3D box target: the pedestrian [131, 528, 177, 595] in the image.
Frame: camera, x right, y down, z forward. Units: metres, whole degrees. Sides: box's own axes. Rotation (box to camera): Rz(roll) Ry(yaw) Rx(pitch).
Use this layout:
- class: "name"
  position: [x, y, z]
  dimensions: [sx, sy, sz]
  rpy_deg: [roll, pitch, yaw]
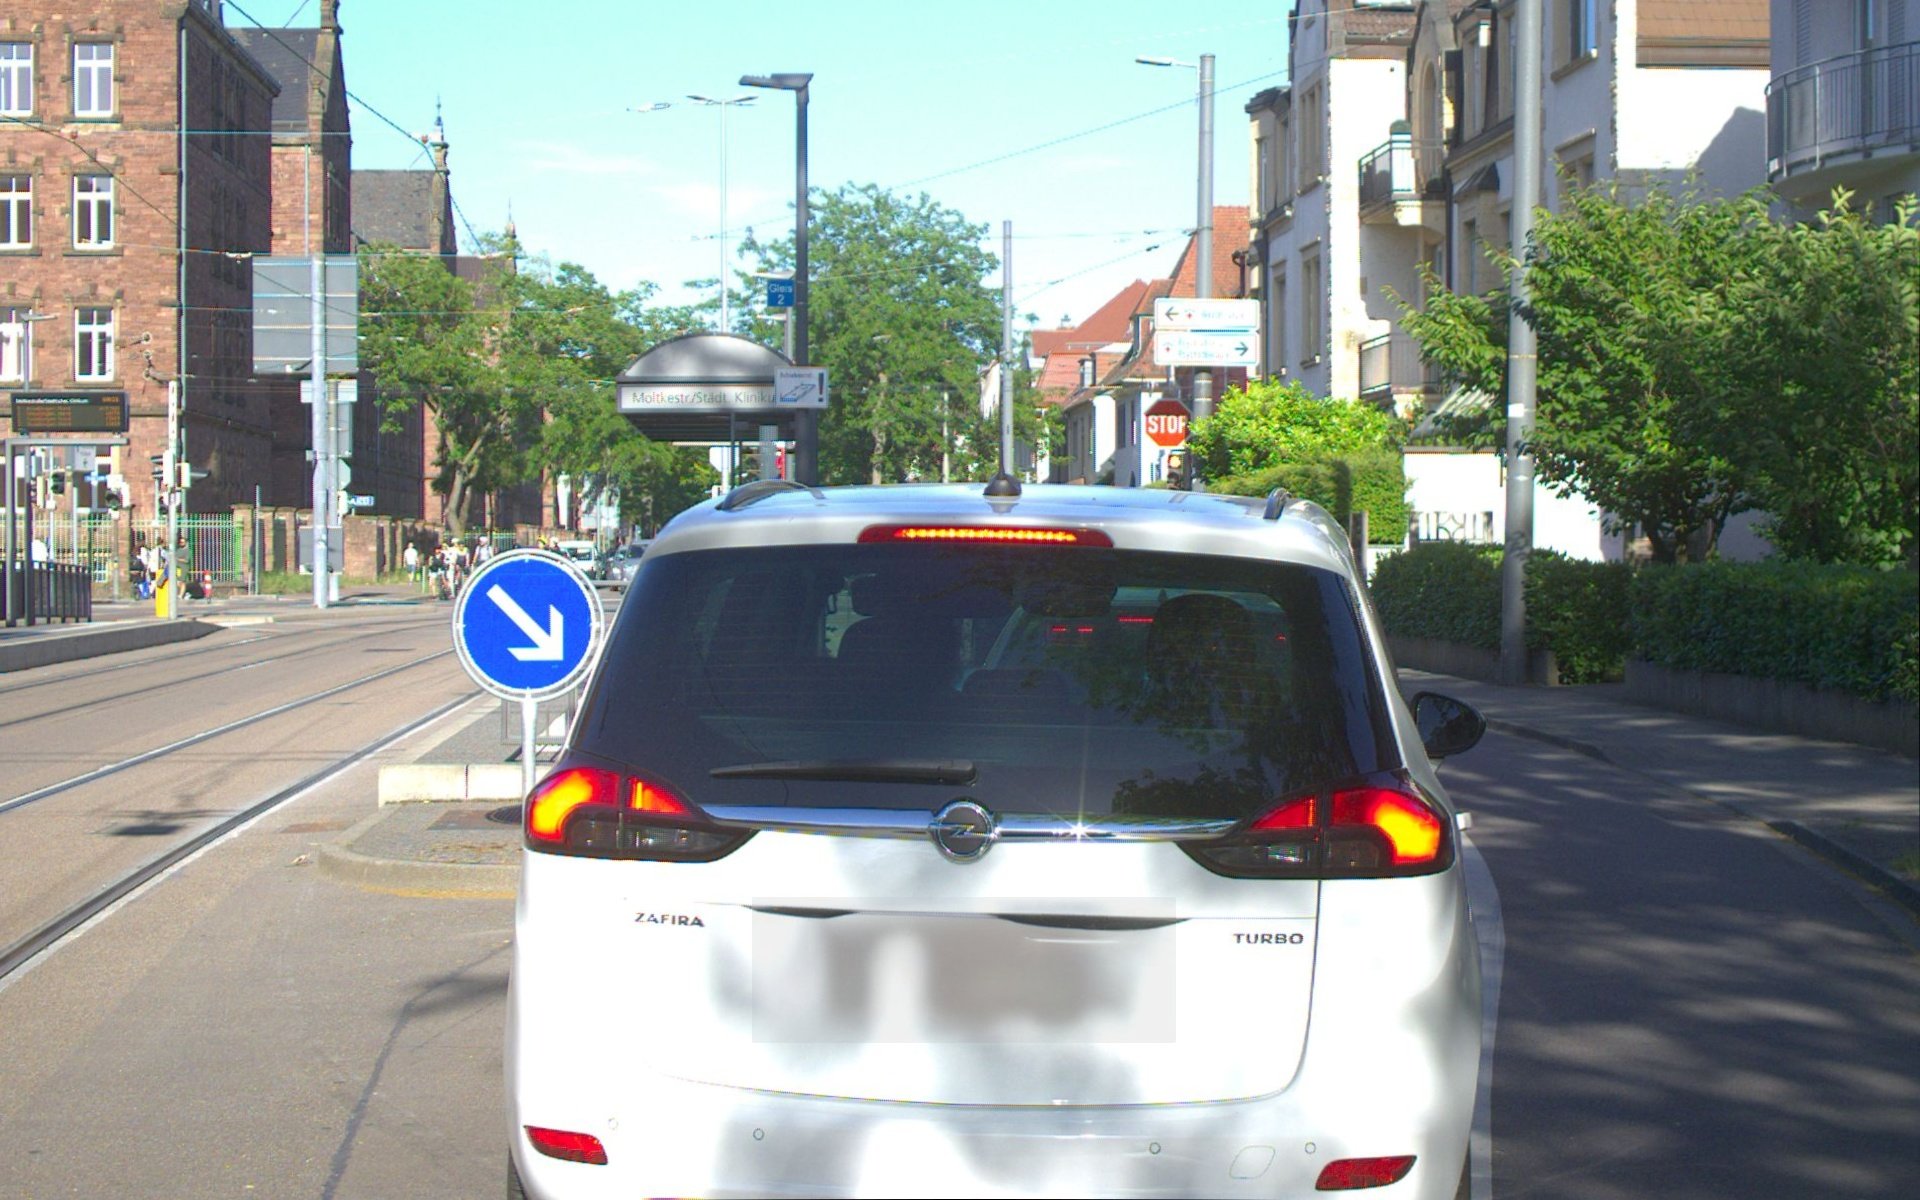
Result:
- class: "pedestrian"
  position: [-20.257, -0.964, 86.435]
  dimensions: [0.895, 1.678, 1.029]
  rpy_deg: [1, 0, -1]

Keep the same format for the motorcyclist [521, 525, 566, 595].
- class: "motorcyclist"
  position: [-9.727, -0.939, 80.255]
  dimensions: [0.615, 1.616, 0.842]
  rpy_deg: [1, 1, 42]

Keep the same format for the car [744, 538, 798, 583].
- class: "car"
  position: [-7.090, -1.491, 128.535]
  dimensions: [1.993, 1.623, 4.001]
  rpy_deg: [0, 1, -4]

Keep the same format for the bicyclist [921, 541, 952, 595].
- class: "bicyclist"
  position: [-0.641, -0.862, 92.680]
  dimensions: [0.759, 1.425, 0.516]
  rpy_deg: [1, 0, 6]

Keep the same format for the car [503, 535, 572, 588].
- class: "car"
  position: [-13.131, -1.212, 107.074]
  dimensions: [1.993, 1.623, 4.001]
  rpy_deg: [0, 1, -5]

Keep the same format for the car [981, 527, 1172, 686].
- class: "car"
  position: [1.171, 0.032, 36.168]
  dimensions: [1.830, 1.574, 4.010]
  rpy_deg: [0, 1, -1]

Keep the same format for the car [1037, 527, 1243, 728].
- class: "car"
  position: [1.489, 0.185, 29.244]
  dimensions: [1.637, 1.595, 3.854]
  rpy_deg: [0, 1, 2]

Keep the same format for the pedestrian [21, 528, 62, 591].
- class: "pedestrian"
  position: [-23.286, -1.035, 87.174]
  dimensions: [0.802, 1.583, 0.935]
  rpy_deg: [1, 0, -3]

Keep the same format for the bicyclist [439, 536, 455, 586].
- class: "bicyclist"
  position: [-15.908, -1.208, 106.552]
  dimensions: [0.444, 1.548, 0.496]
  rpy_deg: [0, 1, -4]

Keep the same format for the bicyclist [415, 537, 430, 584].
- class: "bicyclist"
  position: [-17.998, -1.323, 115.082]
  dimensions: [0.444, 1.548, 0.496]
  rpy_deg: [0, 1, -4]

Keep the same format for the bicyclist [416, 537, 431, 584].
- class: "bicyclist"
  position: [-17.680, -1.300, 113.247]
  dimensions: [0.444, 1.548, 0.496]
  rpy_deg: [0, 1, -4]

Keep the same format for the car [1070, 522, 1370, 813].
- class: "car"
  position: [1.489, 0.337, 20.816]
  dimensions: [1.637, 1.595, 3.854]
  rpy_deg: [0, 1, 2]

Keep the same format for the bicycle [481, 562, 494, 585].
- class: "bicycle"
  position: [-15.443, -0.865, 112.306]
  dimensions: [0.344, 0.722, 0.997]
  rpy_deg: [1, 0, -4]

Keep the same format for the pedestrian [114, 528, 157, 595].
- class: "pedestrian"
  position: [-21.171, -0.988, 88.261]
  dimensions: [0.843, 1.686, 1.029]
  rpy_deg: [1, 0, -1]

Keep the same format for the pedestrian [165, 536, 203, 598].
- class: "pedestrian"
  position: [-21.552, -0.904, 95.512]
  dimensions: [0.735, 1.708, 0.705]
  rpy_deg: [1, 0, 22]

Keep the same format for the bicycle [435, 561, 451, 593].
- class: "bicycle"
  position: [-15.497, -0.703, 103.069]
  dimensions: [0.344, 0.946, 1.160]
  rpy_deg: [1, 0, -4]

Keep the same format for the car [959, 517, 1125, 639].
- class: "car"
  position: [1.013, -0.310, 44.288]
  dimensions: [1.993, 1.497, 4.000]
  rpy_deg: [0, 1, -1]

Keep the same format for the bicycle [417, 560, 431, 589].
- class: "bicycle"
  position: [-17.663, -0.834, 113.296]
  dimensions: [0.344, 0.946, 0.997]
  rpy_deg: [1, 0, -4]

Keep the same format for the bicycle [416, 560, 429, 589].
- class: "bicycle"
  position: [-18.003, -0.857, 115.126]
  dimensions: [0.344, 0.946, 0.997]
  rpy_deg: [1, 0, -4]

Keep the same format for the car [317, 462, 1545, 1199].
- class: "car"
  position: [0.135, 0.587, 7.590]
  dimensions: [1.994, 1.639, 3.992]
  rpy_deg: [1, 1, 6]

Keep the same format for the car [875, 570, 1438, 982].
- class: "car"
  position: [0.743, 0.594, 13.971]
  dimensions: [1.953, 1.392, 4.000]
  rpy_deg: [0, 1, 2]

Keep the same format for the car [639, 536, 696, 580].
- class: "car"
  position: [-11.099, -1.599, 130.640]
  dimensions: [1.993, 1.623, 4.001]
  rpy_deg: [0, 1, -2]

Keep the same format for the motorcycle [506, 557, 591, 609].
- class: "motorcycle"
  position: [-9.616, -0.397, 80.392]
  dimensions: [0.613, 1.194, 2.070]
  rpy_deg: [1, 1, 42]

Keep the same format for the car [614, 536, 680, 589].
- class: "car"
  position: [-9.751, -1.175, 107.297]
  dimensions: [1.993, 1.623, 4.001]
  rpy_deg: [0, 1, -5]

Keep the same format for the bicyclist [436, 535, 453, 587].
- class: "bicyclist"
  position: [-15.489, -1.171, 103.269]
  dimensions: [0.444, 1.548, 0.743]
  rpy_deg: [0, 1, -4]

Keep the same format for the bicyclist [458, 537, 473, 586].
- class: "bicyclist"
  position: [-15.704, -1.231, 109.136]
  dimensions: [0.444, 1.548, 0.496]
  rpy_deg: [0, 1, -4]

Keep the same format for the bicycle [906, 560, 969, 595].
- class: "bicycle"
  position: [-0.605, -0.604, 92.674]
  dimensions: [1.670, 0.949, 0.529]
  rpy_deg: [0, 1, 6]

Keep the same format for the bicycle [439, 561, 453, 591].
- class: "bicycle"
  position: [-15.944, -0.744, 106.601]
  dimensions: [0.344, 0.946, 0.997]
  rpy_deg: [1, 0, -4]

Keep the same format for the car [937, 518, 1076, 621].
- class: "car"
  position: [0.659, -0.479, 51.748]
  dimensions: [1.993, 1.497, 4.000]
  rpy_deg: [0, 1, -1]

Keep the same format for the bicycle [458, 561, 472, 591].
- class: "bicycle"
  position: [-15.713, -0.766, 109.151]
  dimensions: [0.344, 0.946, 0.997]
  rpy_deg: [1, 0, -4]

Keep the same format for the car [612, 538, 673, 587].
- class: "car"
  position: [-10.549, -1.257, 114.404]
  dimensions: [1.993, 1.623, 4.001]
  rpy_deg: [0, 1, -5]

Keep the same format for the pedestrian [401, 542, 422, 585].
- class: "pedestrian"
  position: [-21.628, -1.441, 135.540]
  dimensions: [0.734, 1.708, 0.754]
  rpy_deg: [1, 0, -6]
